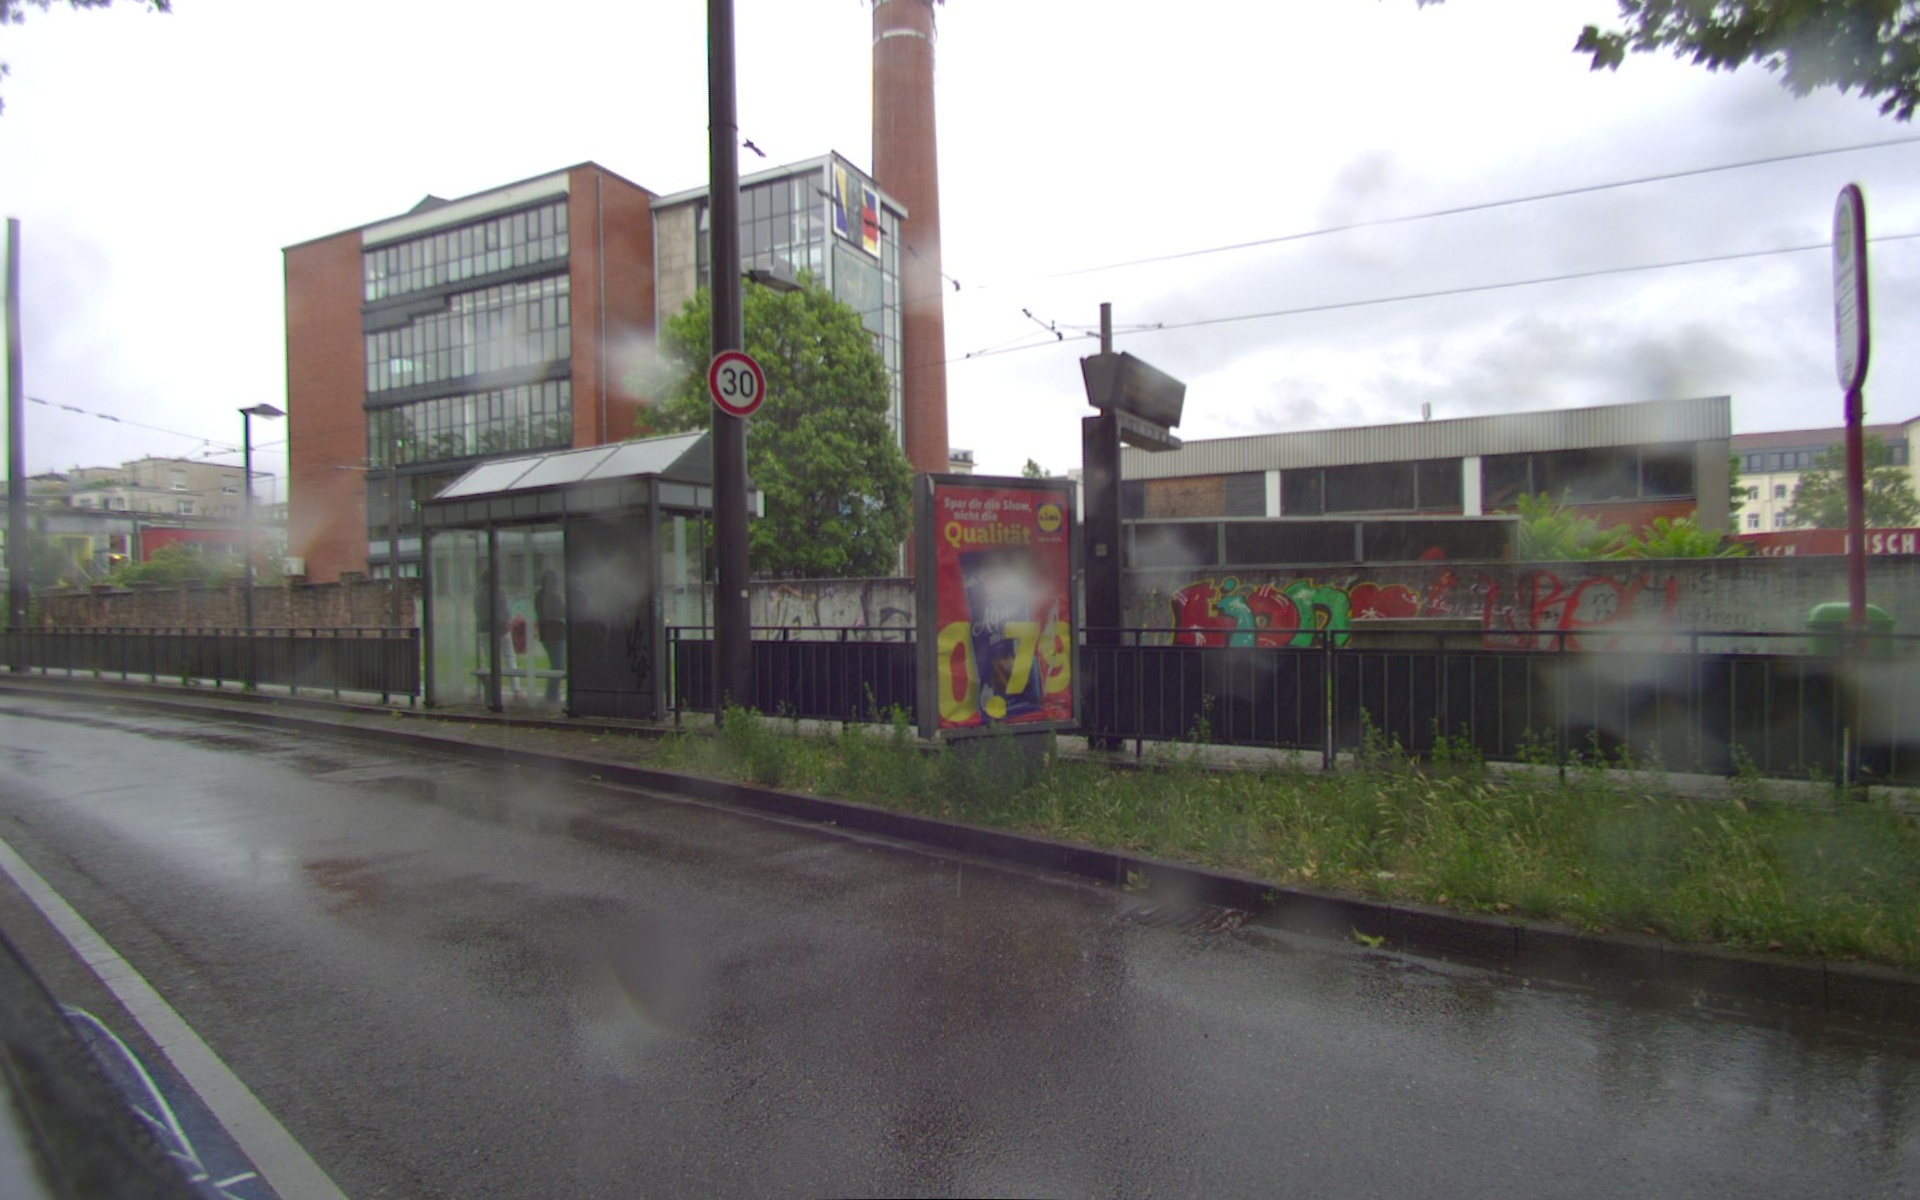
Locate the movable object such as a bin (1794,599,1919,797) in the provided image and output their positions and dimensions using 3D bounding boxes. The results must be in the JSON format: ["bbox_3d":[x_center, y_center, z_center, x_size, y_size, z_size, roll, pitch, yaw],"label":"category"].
[{"bbox_3d":[5.291,0.553,5.908,0.528,1.098,0.414,-1,-2,25],"label":"movable object such as a bin"}]

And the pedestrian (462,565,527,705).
[{"bbox_3d":[-5.929,0.446,12.912,0.560,1.744,0.583,0,-2,-1],"label":"pedestrian"}]

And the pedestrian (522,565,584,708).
[{"bbox_3d":[-5.102,0.452,12.706,0.560,1.744,0.583,0,-2,-3],"label":"pedestrian"}]
